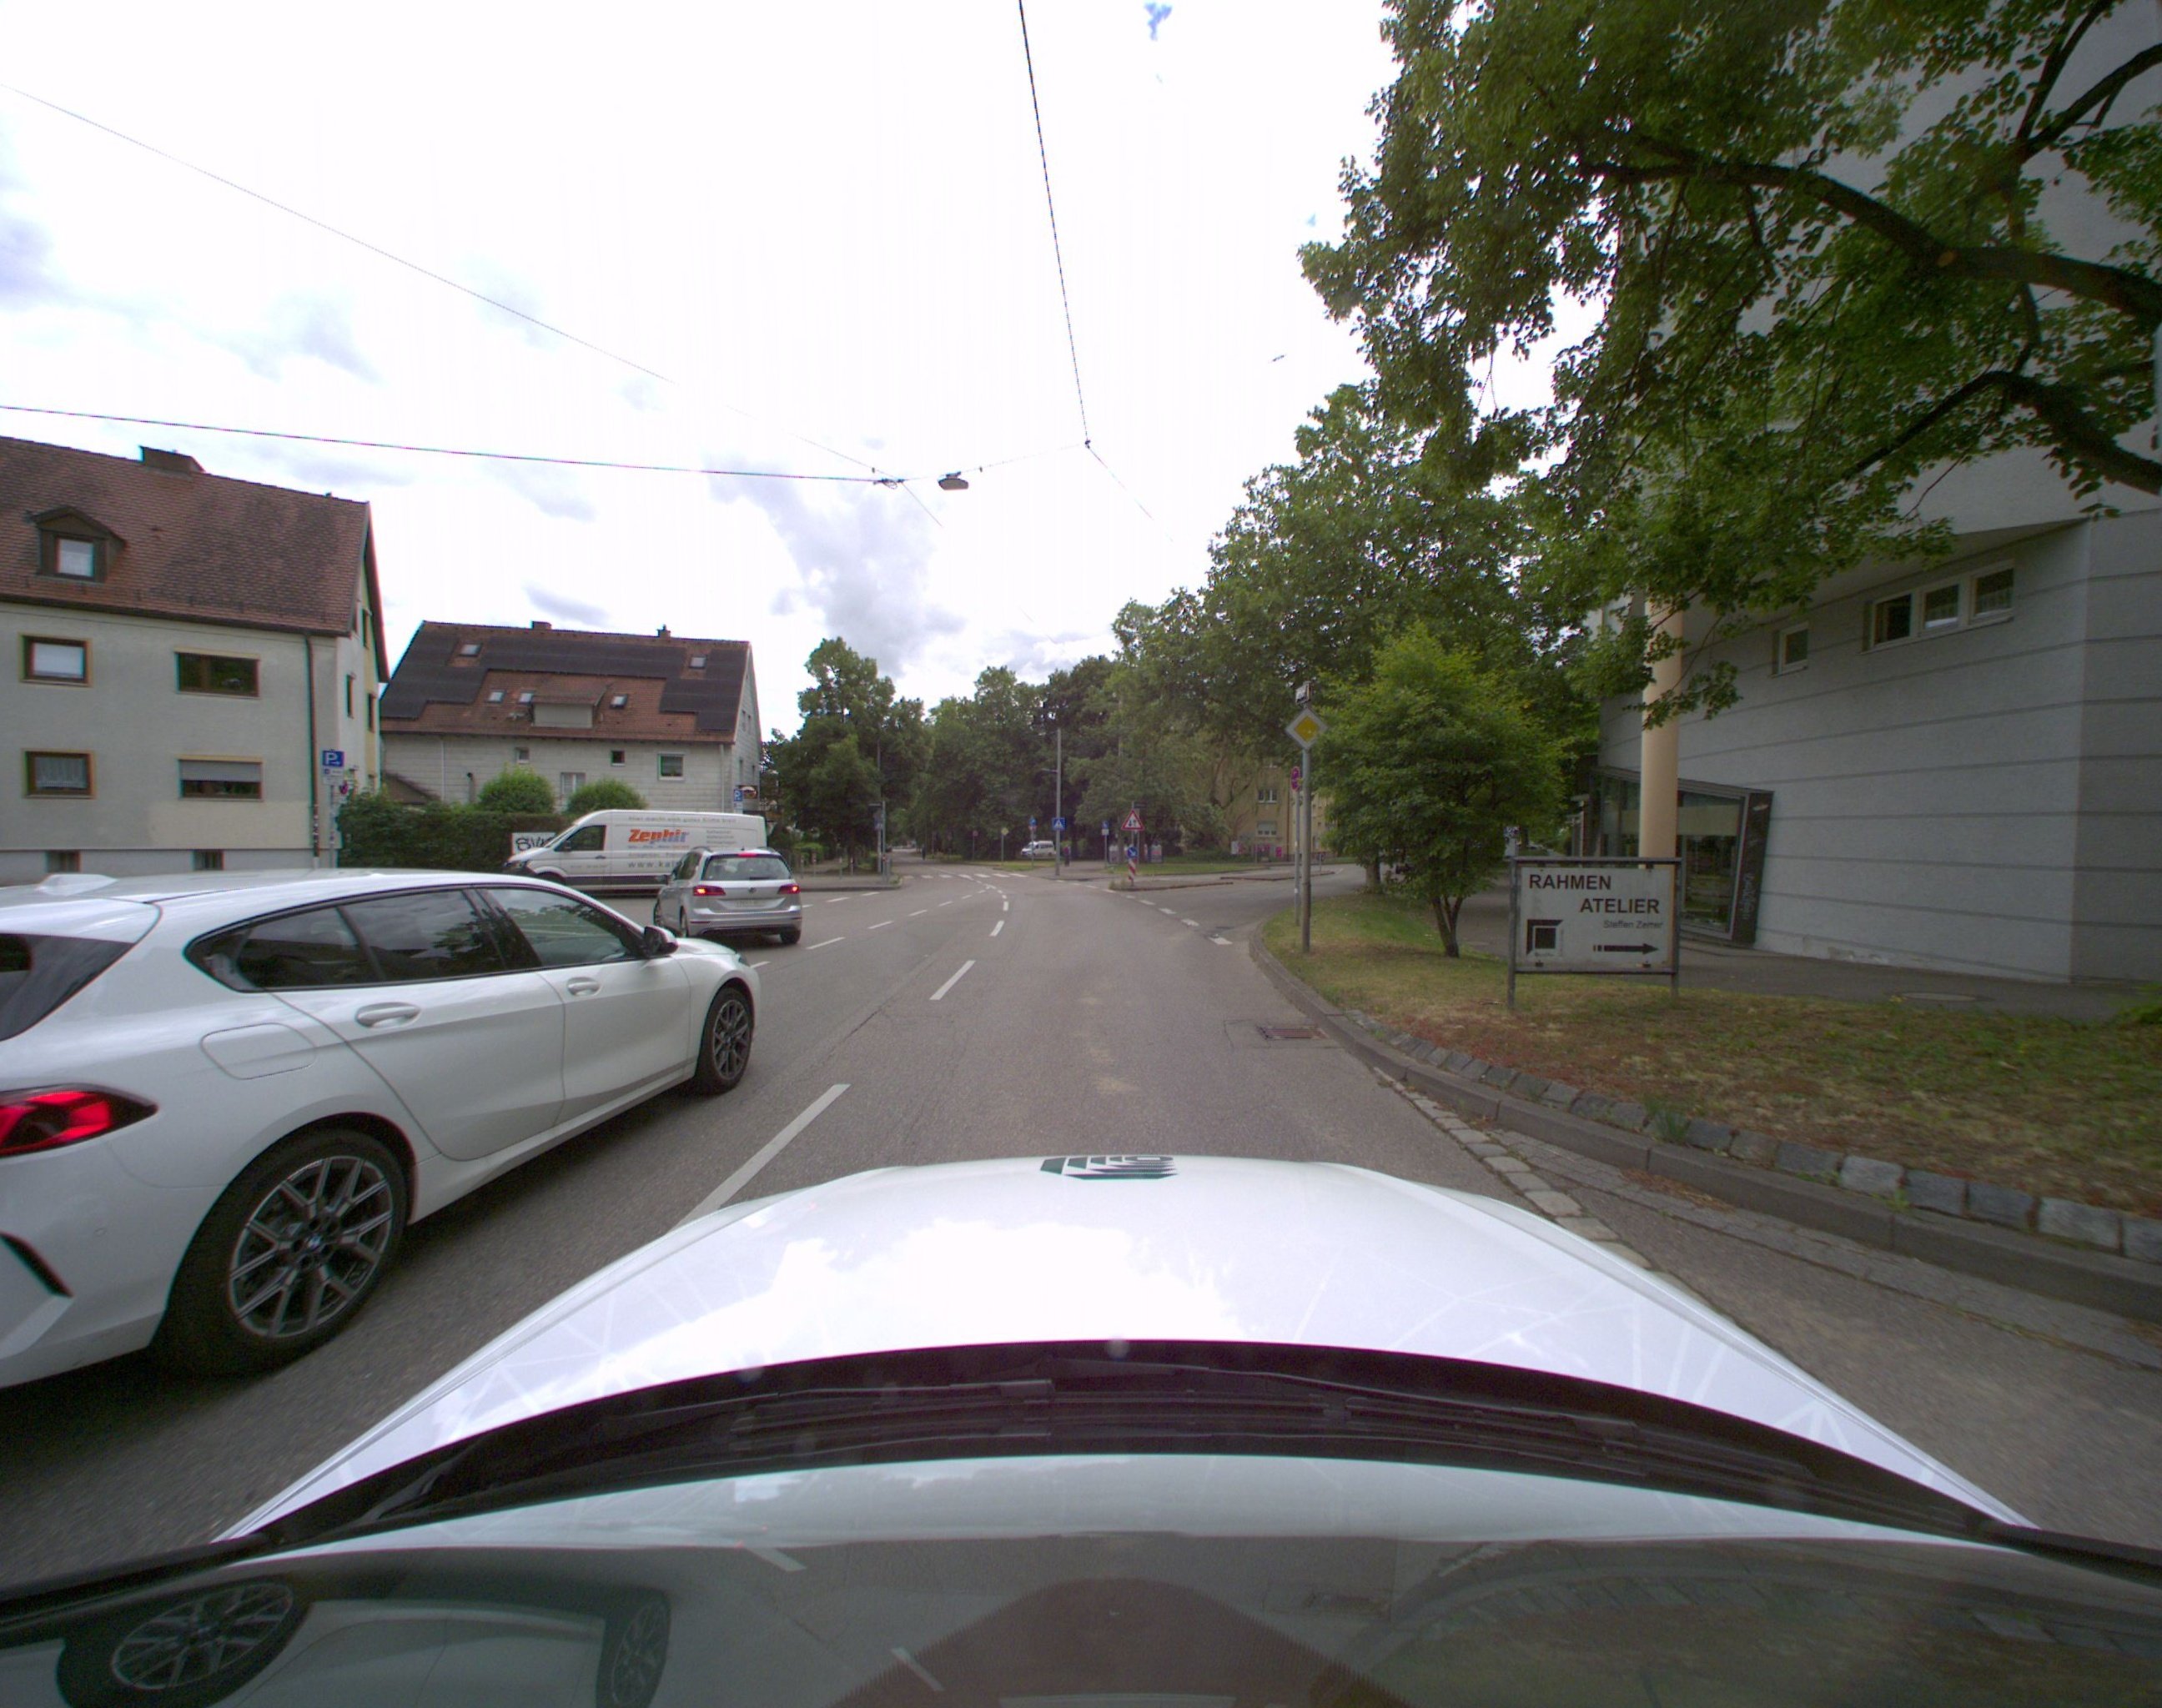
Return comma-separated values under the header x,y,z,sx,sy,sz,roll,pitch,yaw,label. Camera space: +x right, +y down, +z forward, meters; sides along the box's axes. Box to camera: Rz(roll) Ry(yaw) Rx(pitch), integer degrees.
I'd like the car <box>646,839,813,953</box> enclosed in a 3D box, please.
x,y,z,sx,sy,sz,roll,pitch,yaw,label
-6.037,0.560,13.719,1.937,1.573,3.959,-1,2,-33,car

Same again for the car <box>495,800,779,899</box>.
x,y,z,sx,sy,sz,roll,pitch,yaw,label
-12.697,-0.177,23.667,7.011,2.521,2.062,0,3,-36,car

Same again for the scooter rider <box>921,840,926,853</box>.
x,y,z,sx,sy,sz,roll,pitch,yaw,label
-19.246,-0.936,99.327,0.601,1.552,0.564,-1,3,-13,scooter rider

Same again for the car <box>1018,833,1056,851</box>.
x,y,z,sx,sy,sz,roll,pitch,yaw,label
-6.210,-1.660,114.837,2.111,2.296,5.419,4,2,40,car

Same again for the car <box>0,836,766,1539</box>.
x,y,z,sx,sy,sz,roll,pitch,yaw,label
-3.165,0.690,3.587,1.789,1.517,4.209,0,1,2,car

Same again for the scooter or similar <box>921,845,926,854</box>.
x,y,z,sx,sy,sz,roll,pitch,yaw,label
-19.206,-0.519,99.199,0.601,1.054,0.869,-1,3,-13,scooter or similar

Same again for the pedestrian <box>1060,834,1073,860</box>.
x,y,z,sx,sy,sz,roll,pitch,yaw,label
-1.135,-0.550,63.302,0.921,1.871,1.018,-4,4,-2,pedestrian

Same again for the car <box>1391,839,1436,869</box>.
x,y,z,sx,sy,sz,roll,pitch,yaw,label
19.319,0.004,47.257,1.857,1.568,4.044,4,2,29,car
